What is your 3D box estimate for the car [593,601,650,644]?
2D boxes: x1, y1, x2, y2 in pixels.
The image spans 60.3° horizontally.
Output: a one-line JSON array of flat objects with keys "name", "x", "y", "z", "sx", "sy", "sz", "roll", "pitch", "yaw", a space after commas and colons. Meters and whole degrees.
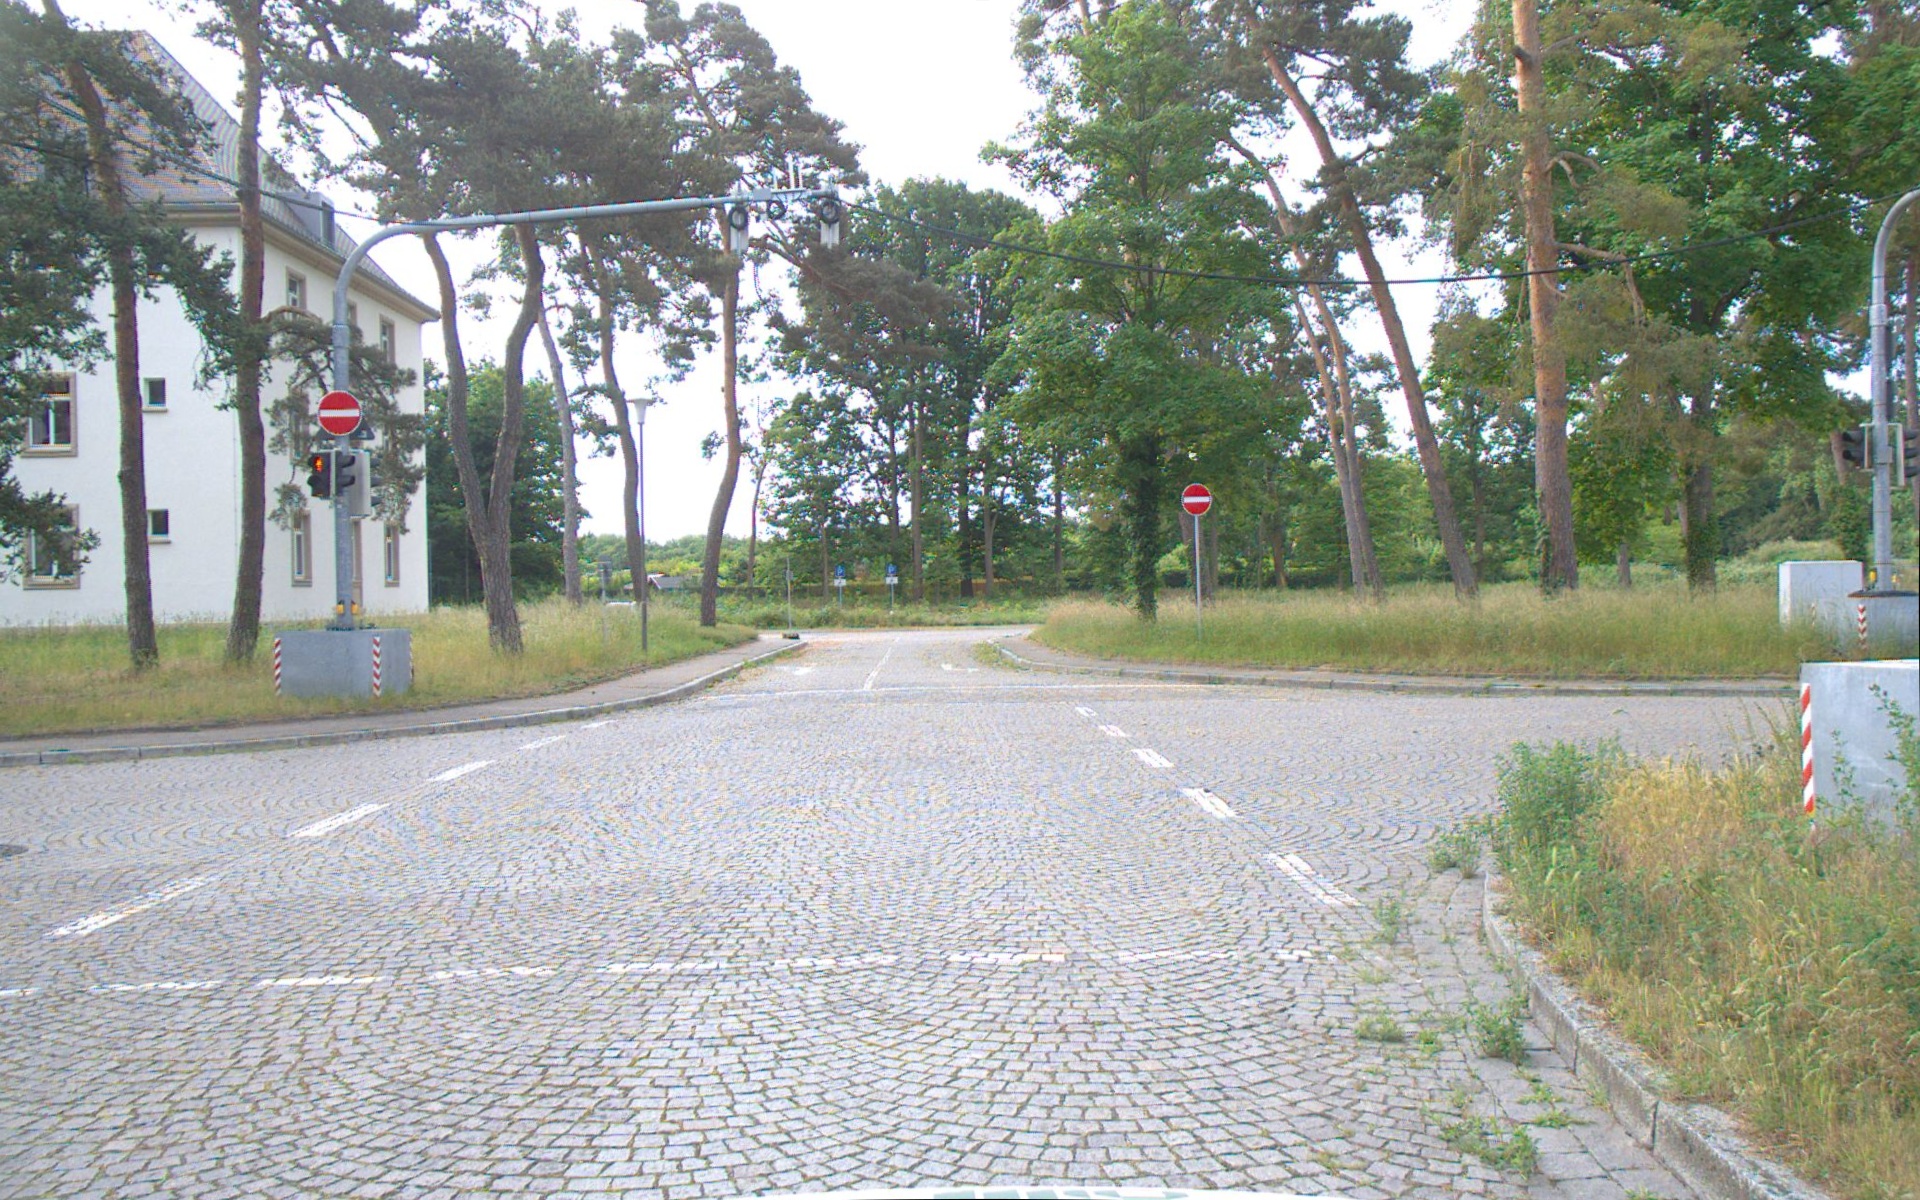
[{"name": "car", "x": -15.046, "y": 0.977, "z": 73.785, "sx": 1.954, "sy": 1.878, "sz": 3.997, "roll": 0, "pitch": 0, "yaw": -4}]

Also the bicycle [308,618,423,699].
[{"name": "bicycle", "x": -8.576, "y": 0.840, "z": 23.880, "sx": 1.435, "sy": 1.083, "sz": 0.516, "roll": -2, "pitch": 1, "yaw": -3}]
